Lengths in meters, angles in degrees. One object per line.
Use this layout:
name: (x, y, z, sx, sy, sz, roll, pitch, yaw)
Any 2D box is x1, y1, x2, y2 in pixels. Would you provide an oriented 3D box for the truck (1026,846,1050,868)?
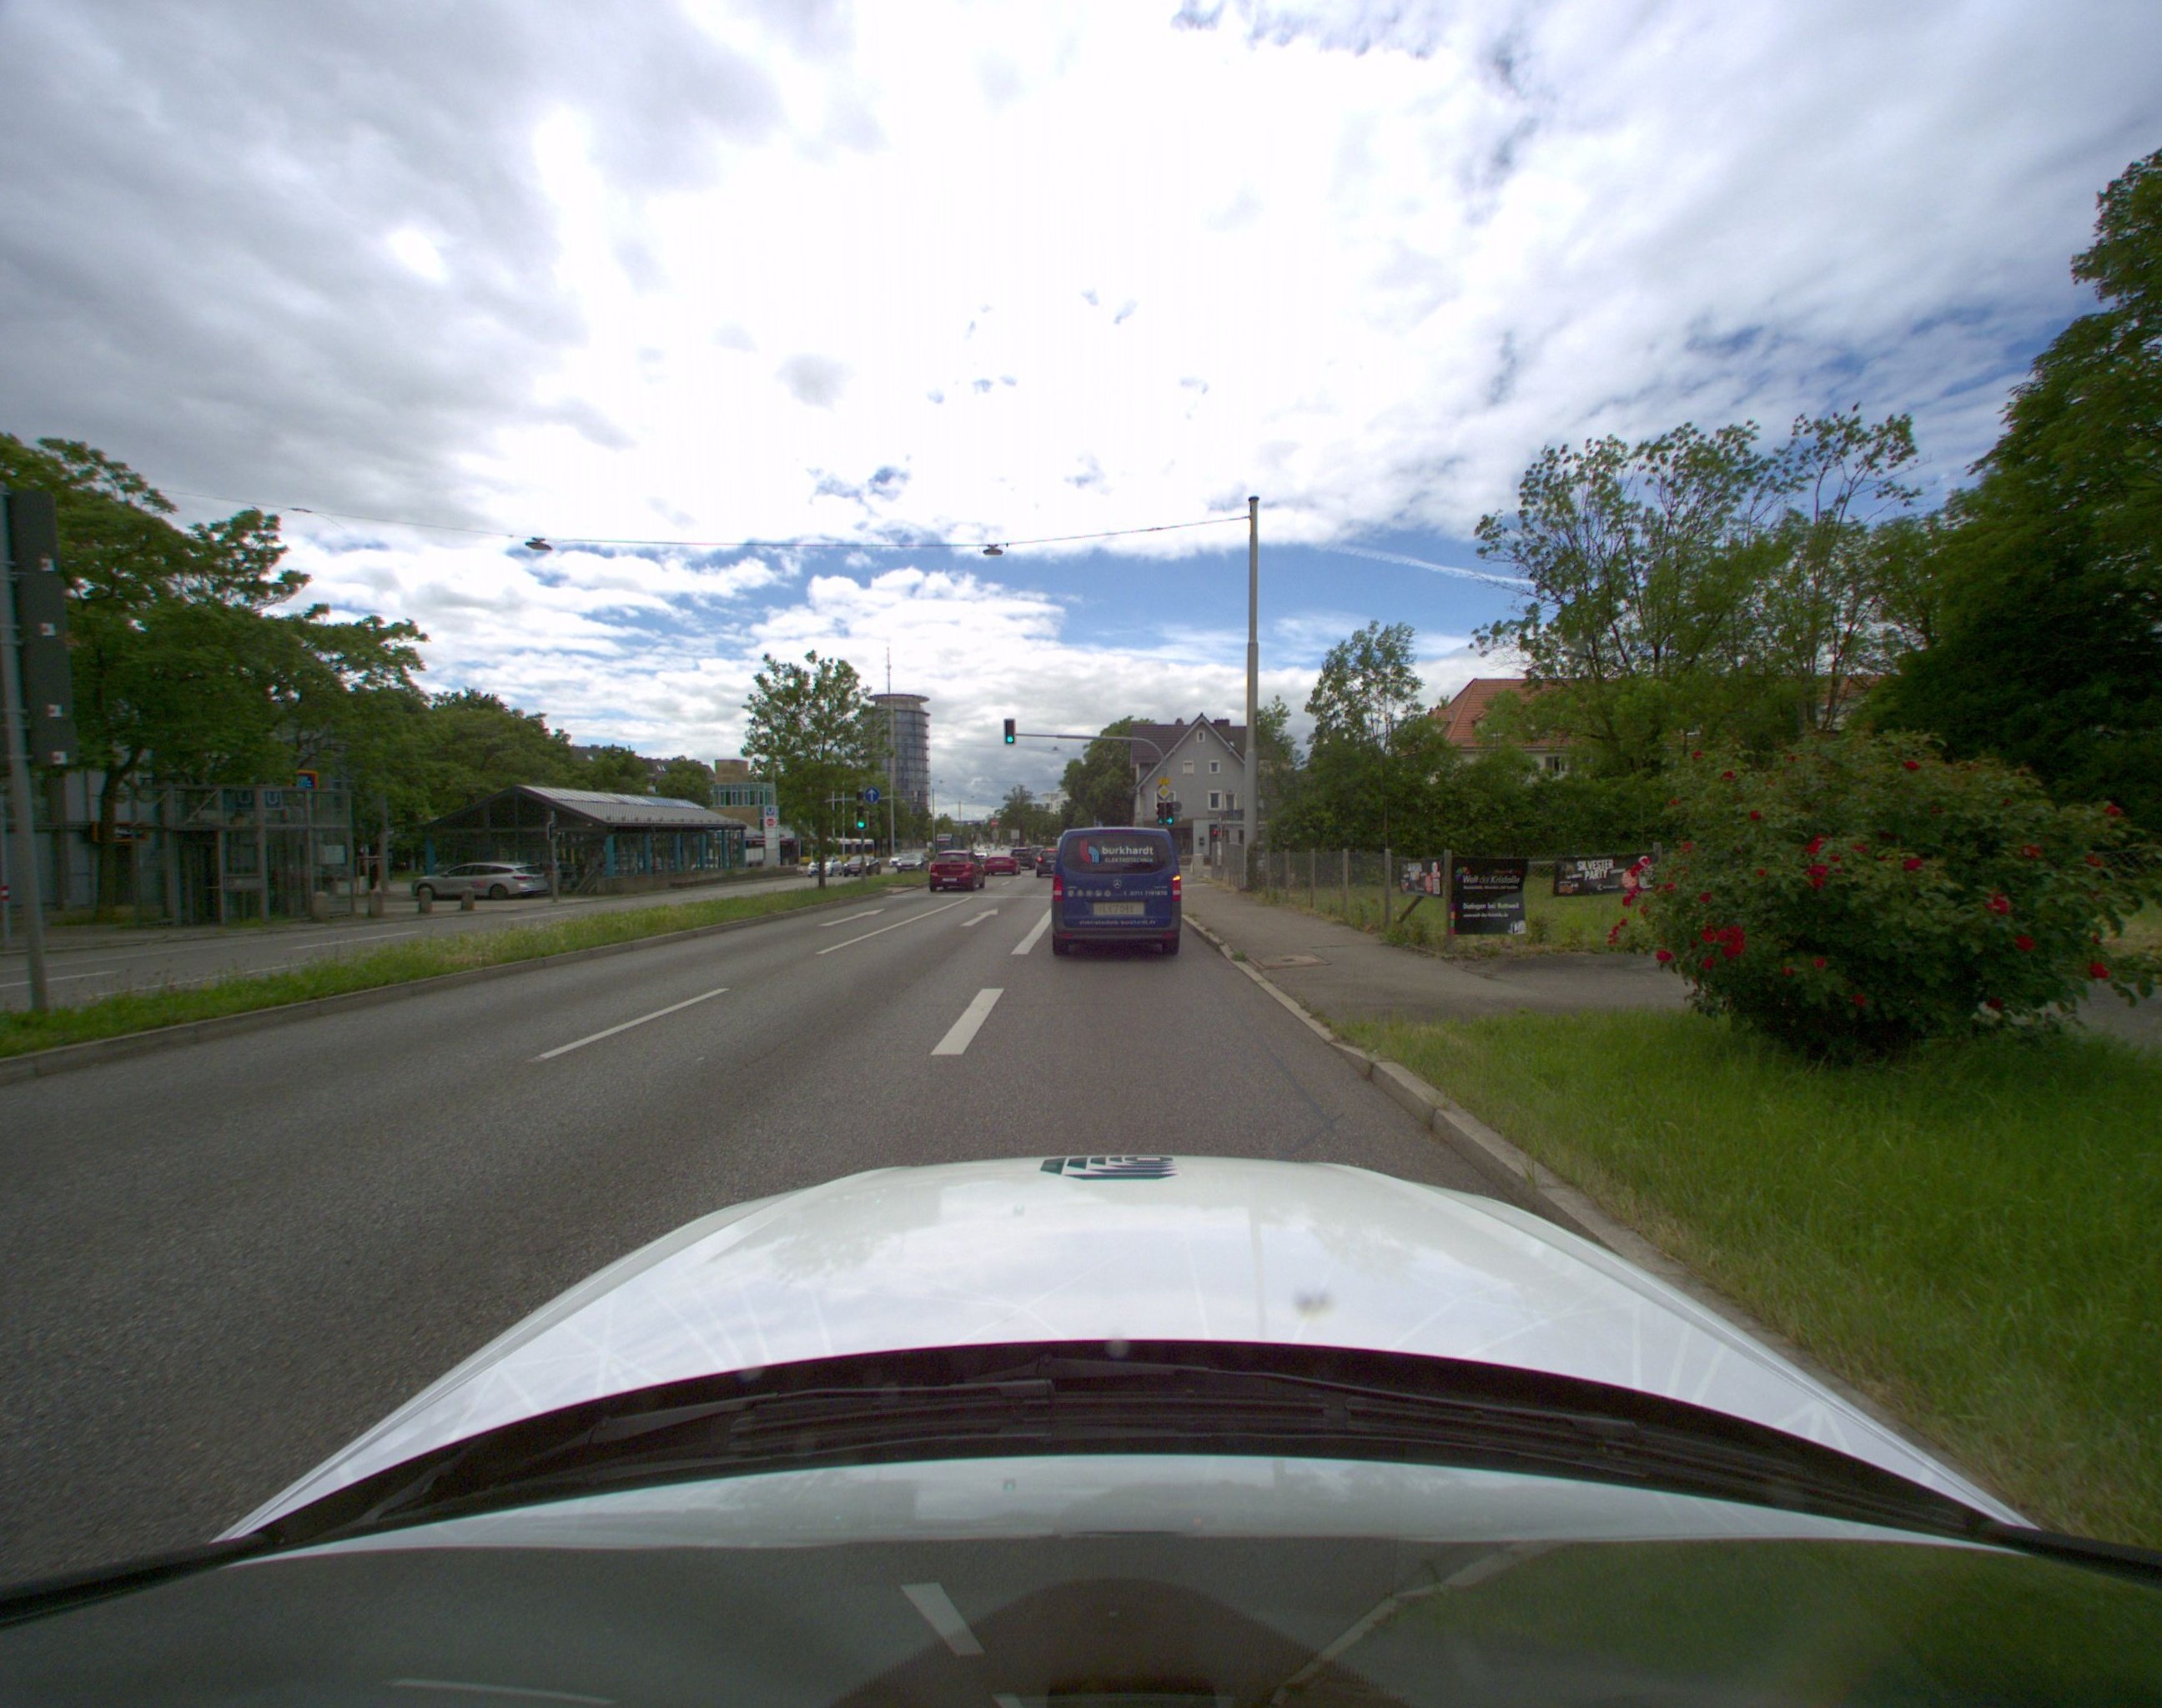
truck: (-4.469, 0.307, 84.998, 1.986, 2.165, 5.560, 1, 0, 1)

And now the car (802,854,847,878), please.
car: (-17.940, 0.798, 57.128, 1.741, 1.517, 4.001, -2, 0, 1)

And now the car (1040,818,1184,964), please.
car: (0.450, 0.491, 13.313, 1.941, 1.965, 4.542, 0, 0, 1)

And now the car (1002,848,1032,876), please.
car: (-4.811, 0.558, 60.587, 1.992, 2.013, 3.990, 0, 1, -8)

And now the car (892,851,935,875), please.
car: (-12.086, 0.615, 59.089, 1.986, 1.574, 4.518, -1, 0, 2)

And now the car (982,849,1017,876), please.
car: (-4.777, 0.487, 47.478, 1.867, 1.486, 3.989, -1, 0, -8)

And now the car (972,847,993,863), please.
car: (-13.105, 0.074, 108.833, 1.985, 2.013, 4.182, -1, 0, 3)

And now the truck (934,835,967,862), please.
truck: (-19.215, -0.751, 120.437, 3.359, 3.727, 11.272, 0, 0, -2)

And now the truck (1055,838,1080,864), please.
truck: (-1.151, -0.272, 71.996, 1.986, 2.165, 5.560, 1, 0, 1)

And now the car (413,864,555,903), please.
car: (-23.340, 1.120, 32.007, 3.989, 1.354, 1.992, -1, 0, -11)

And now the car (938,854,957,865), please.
car: (-16.717, 0.721, 102.440, 1.825, 1.262, 3.997, -1, 0, -2)

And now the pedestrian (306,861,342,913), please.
pedestrian: (-21.936, 0.929, 23.599, 0.605, 1.458, 0.861, 1, 0, -33)

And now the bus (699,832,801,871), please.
bus: (-28.681, -0.187, 71.424, 2.942, 3.133, 12.179, 0, 0, 6)

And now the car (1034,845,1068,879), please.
car: (-1.631, 0.404, 44.791, 1.742, 1.723, 3.997, -1, 0, -2)

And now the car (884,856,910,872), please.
car: (-19.240, 1.013, 85.320, 1.727, 1.574, 4.504, -1, 0, -1)

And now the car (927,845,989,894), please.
car: (-4.682, 0.534, 31.508, 1.741, 1.723, 3.999, -1, 0, 0)

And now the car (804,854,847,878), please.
car: (-17.885, 0.807, 57.148, 1.618, 1.574, 4.002, -1, 0, 2)

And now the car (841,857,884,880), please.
car: (-14.980, 0.940, 56.045, 1.809, 1.398, 5.005, -3, 0, -3)
